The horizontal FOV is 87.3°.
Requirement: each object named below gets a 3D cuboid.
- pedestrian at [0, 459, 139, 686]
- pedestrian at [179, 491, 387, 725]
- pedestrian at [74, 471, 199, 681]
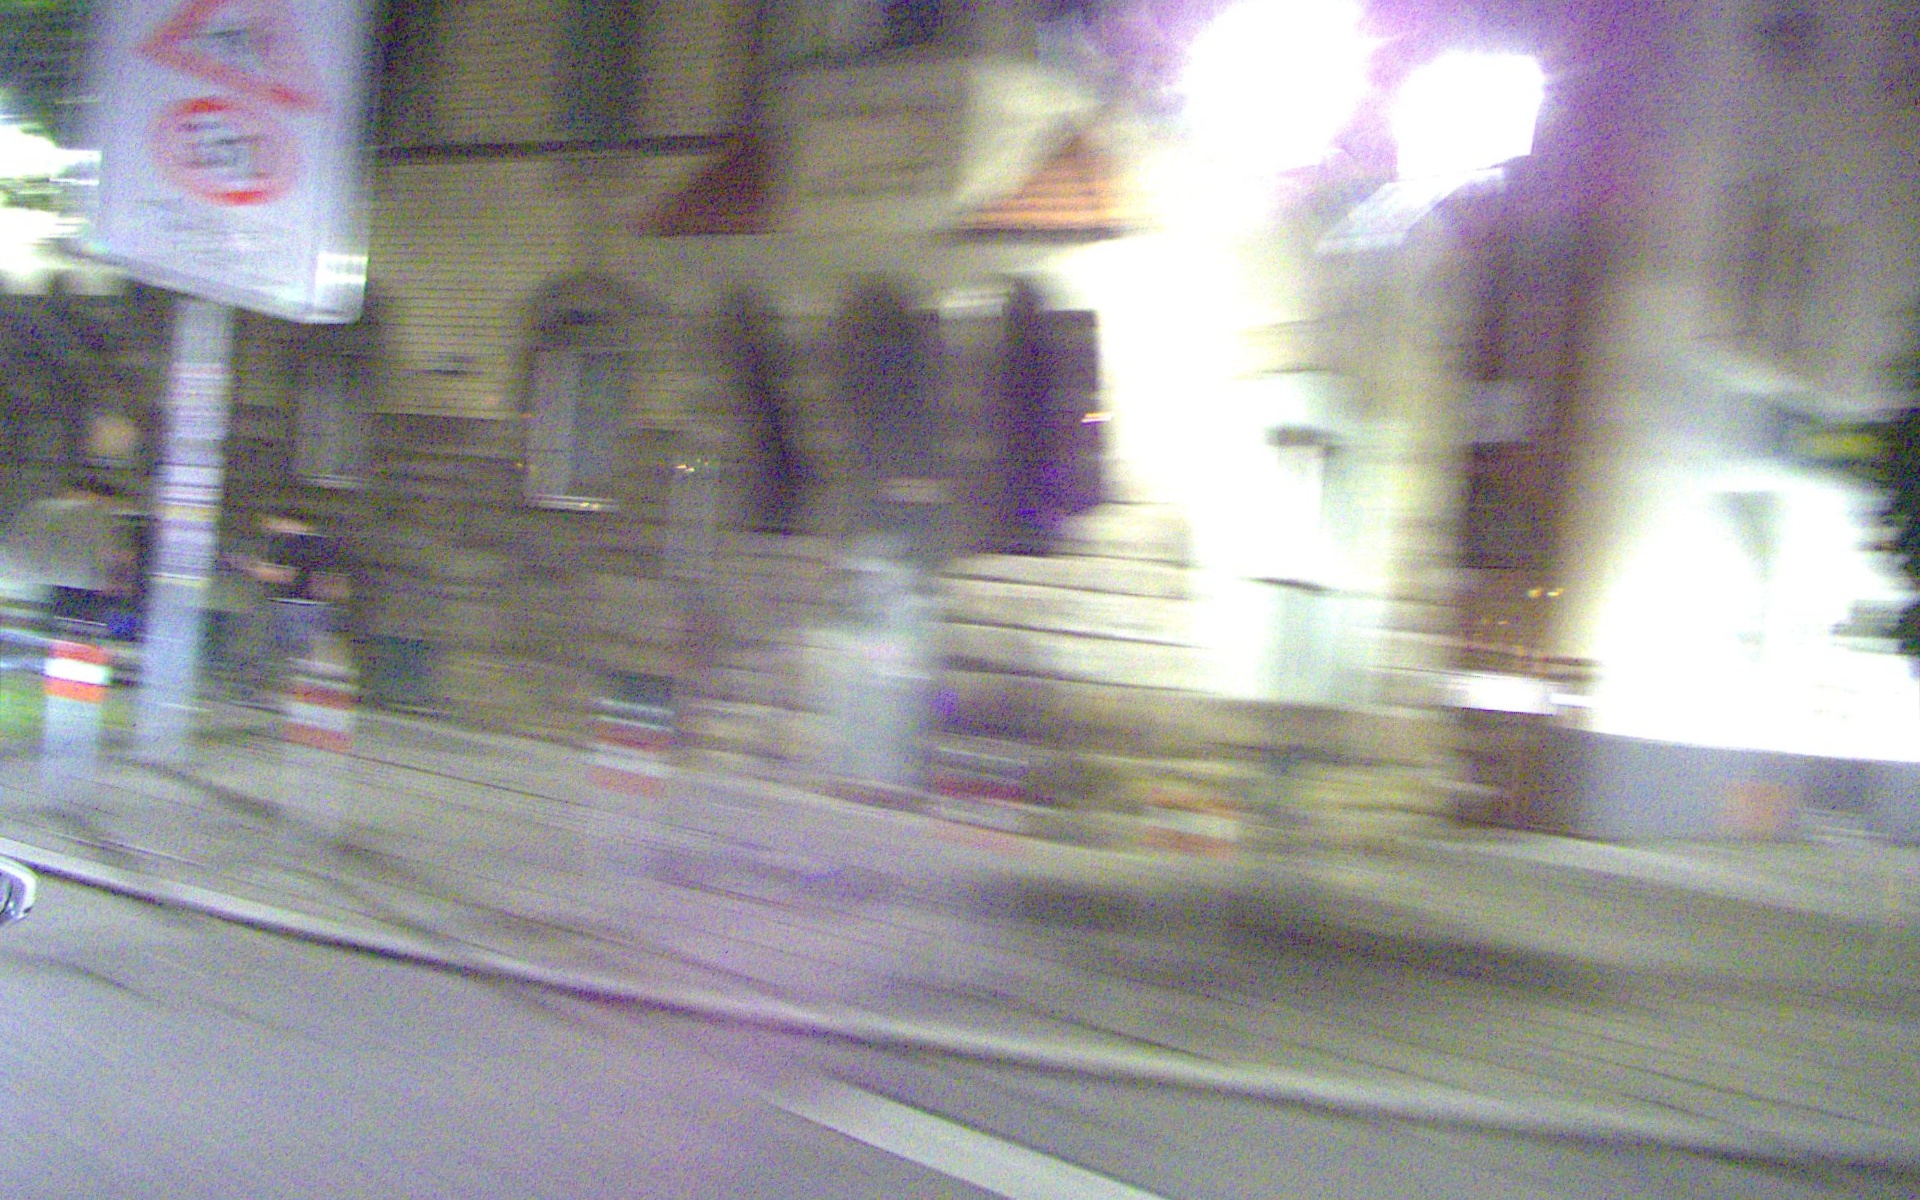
[{"bbox_3d":[-7.253,-0.213,8.154,0.691,1.730,0.508,7,1,18],"label":"pedestrian"},{"bbox_3d":[-5.259,0.066,7.850,0.948,1.650,0.810,6,0,21],"label":"pedestrian"},{"bbox_3d":[-7.154,-0.198,8.749,0.560,1.730,0.478,7,1,18],"label":"pedestrian"}]
